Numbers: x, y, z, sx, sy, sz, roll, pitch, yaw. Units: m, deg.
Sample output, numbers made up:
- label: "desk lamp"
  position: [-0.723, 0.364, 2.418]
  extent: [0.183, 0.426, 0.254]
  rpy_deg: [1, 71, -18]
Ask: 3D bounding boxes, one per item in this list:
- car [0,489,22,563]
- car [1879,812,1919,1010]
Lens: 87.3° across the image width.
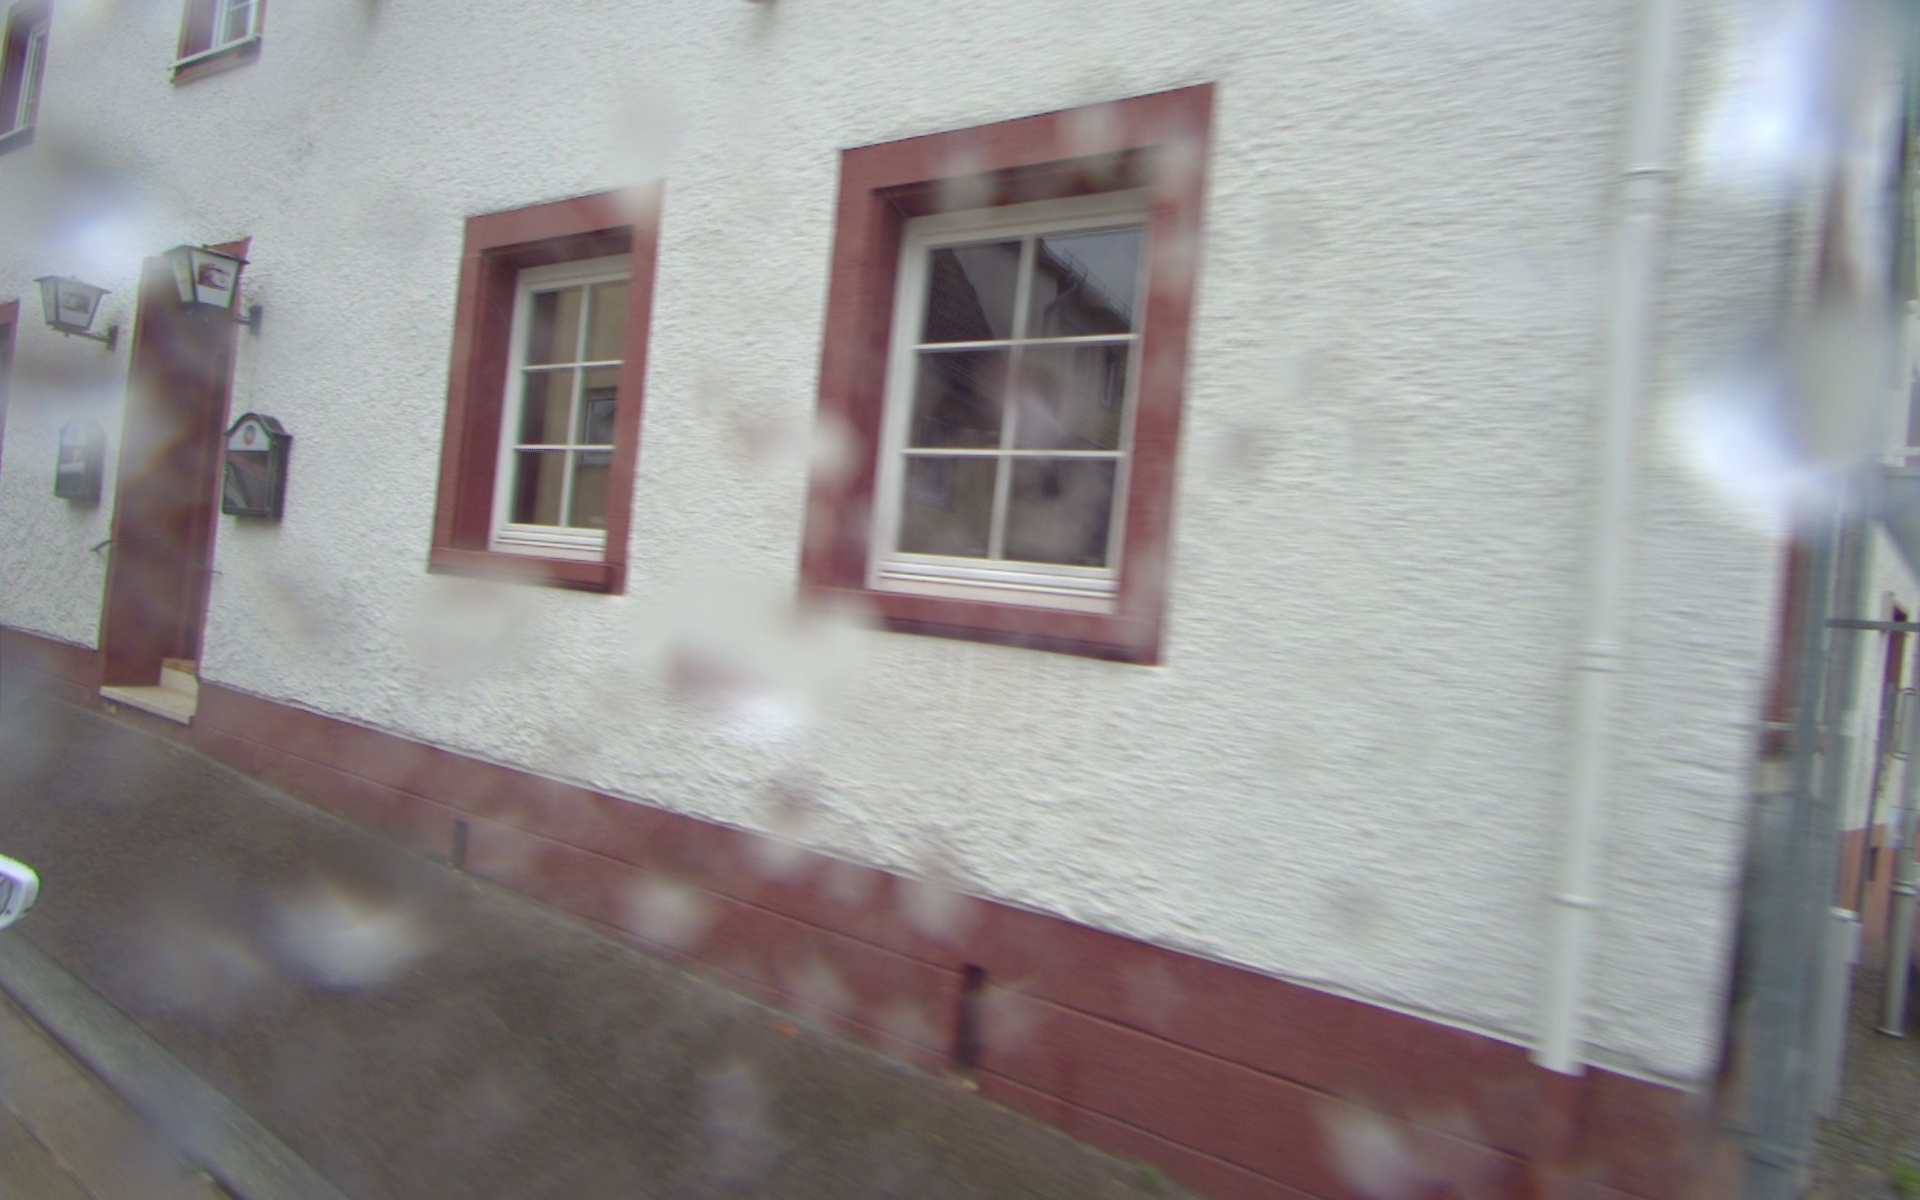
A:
- label: "car"
  position: [-21.998, -1.852, 20.405]
  extent: [4.218, 1.497, 1.674]
  rpy_deg: [10, -2, -44]
- label: "car"
  position: [8.479, 2.582, 7.743]
  extent: [1.638, 1.389, 3.952]
  rpy_deg: [6, -3, 38]
